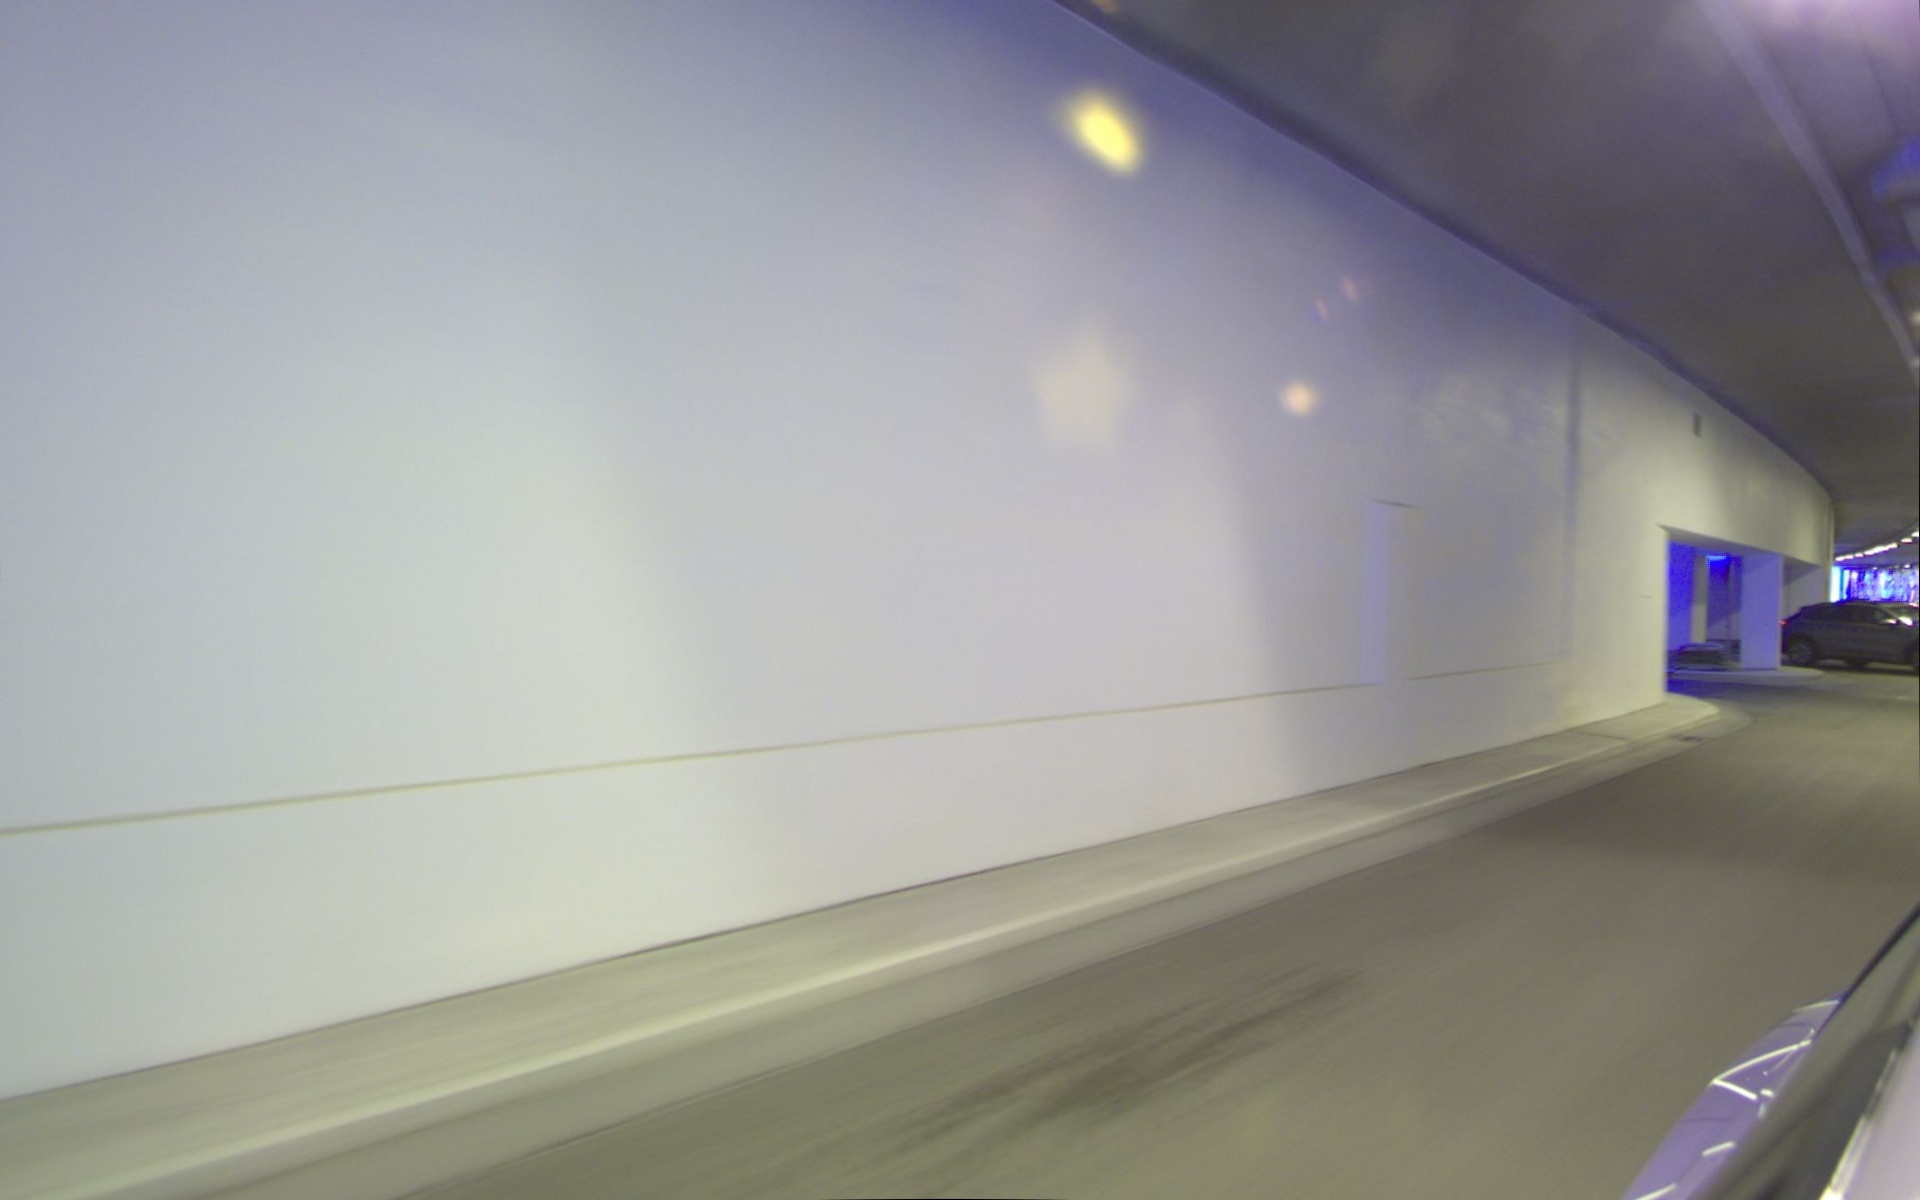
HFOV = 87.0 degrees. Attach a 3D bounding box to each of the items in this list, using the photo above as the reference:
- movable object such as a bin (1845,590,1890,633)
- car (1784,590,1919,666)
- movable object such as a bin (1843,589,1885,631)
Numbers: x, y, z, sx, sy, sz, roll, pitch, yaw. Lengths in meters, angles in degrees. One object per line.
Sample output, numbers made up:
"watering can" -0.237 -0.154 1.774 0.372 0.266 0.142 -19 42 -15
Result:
"movable object such as a bin" 31.657 0.392 35.334 1.144 1.463 1.344 0 1 41
"car" 20.829 0.578 22.080 1.858 1.565 4.248 0 1 -10
"movable object such as a bin" 32.528 0.343 36.419 1.096 1.463 1.302 0 1 41
